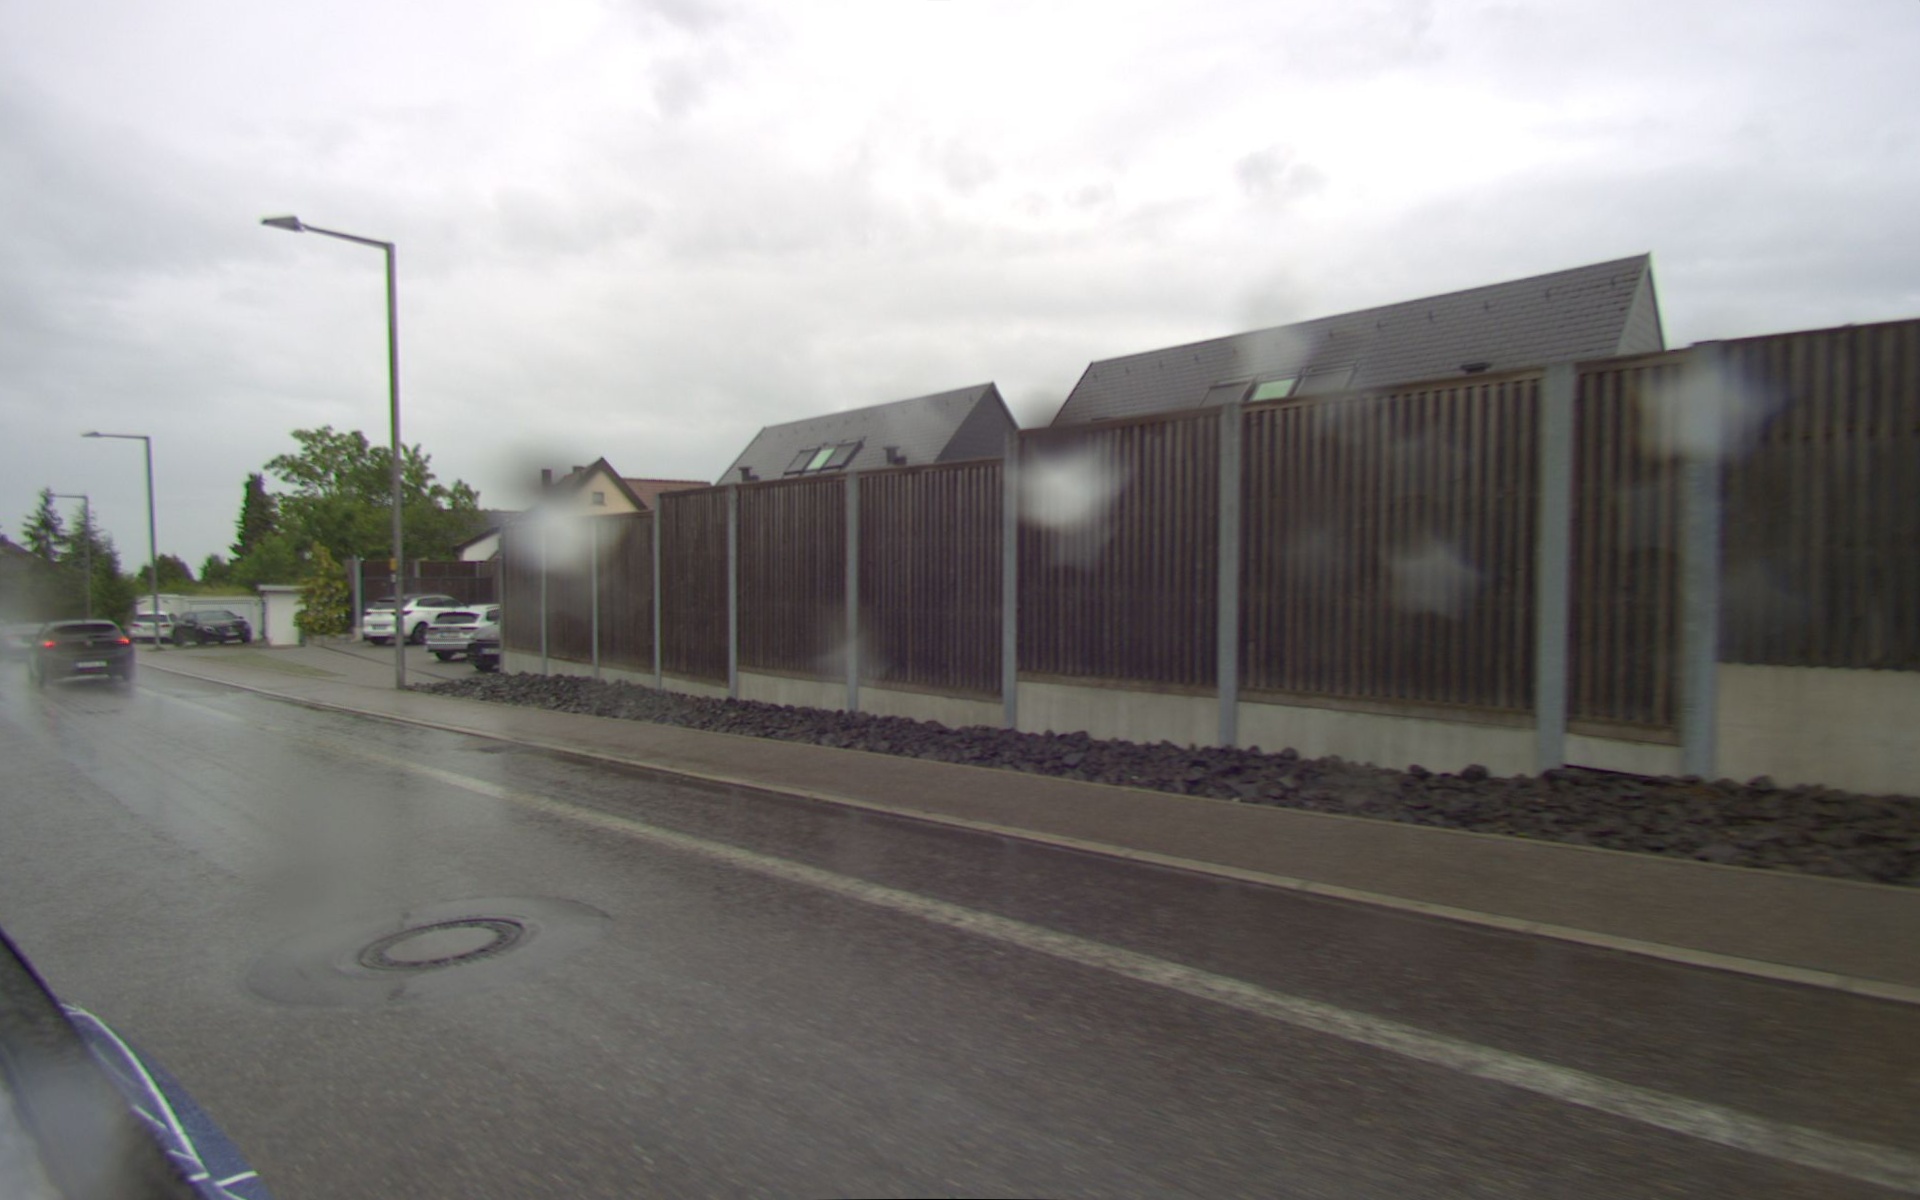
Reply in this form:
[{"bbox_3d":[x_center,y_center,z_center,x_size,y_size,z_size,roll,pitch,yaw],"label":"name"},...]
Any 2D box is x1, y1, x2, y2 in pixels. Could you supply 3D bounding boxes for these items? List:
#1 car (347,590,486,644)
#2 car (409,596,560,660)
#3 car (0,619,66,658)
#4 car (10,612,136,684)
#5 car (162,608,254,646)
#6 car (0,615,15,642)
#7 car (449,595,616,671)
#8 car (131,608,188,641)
[{"bbox_3d":[-18.206,0.524,34.117,1.923,1.585,4.043,-2,1,12],"label":"car"},{"bbox_3d":[-13.208,0.725,28.460,1.739,1.452,4.527,-2,2,5],"label":"car"},{"bbox_3d":[-33.992,1.366,36.632,4.205,1.293,1.862,-1,0,40],"label":"car"},{"bbox_3d":[-20.764,1.054,23.641,4.210,1.460,1.860,-1,0,44],"label":"car"},{"bbox_3d":[-30.779,1.107,41.391,4.251,1.416,1.818,-1,1,36],"label":"car"},{"bbox_3d":[-55.654,1.658,57.865,4.264,1.471,1.829,-1,1,40],"label":"car"},{"bbox_3d":[-10.627,0.769,25.539,1.818,1.612,4.280,-2,1,10],"label":"car"},{"bbox_3d":[-41.143,1.220,52.087,1.681,1.565,4.402,-3,1,-31],"label":"car"}]
